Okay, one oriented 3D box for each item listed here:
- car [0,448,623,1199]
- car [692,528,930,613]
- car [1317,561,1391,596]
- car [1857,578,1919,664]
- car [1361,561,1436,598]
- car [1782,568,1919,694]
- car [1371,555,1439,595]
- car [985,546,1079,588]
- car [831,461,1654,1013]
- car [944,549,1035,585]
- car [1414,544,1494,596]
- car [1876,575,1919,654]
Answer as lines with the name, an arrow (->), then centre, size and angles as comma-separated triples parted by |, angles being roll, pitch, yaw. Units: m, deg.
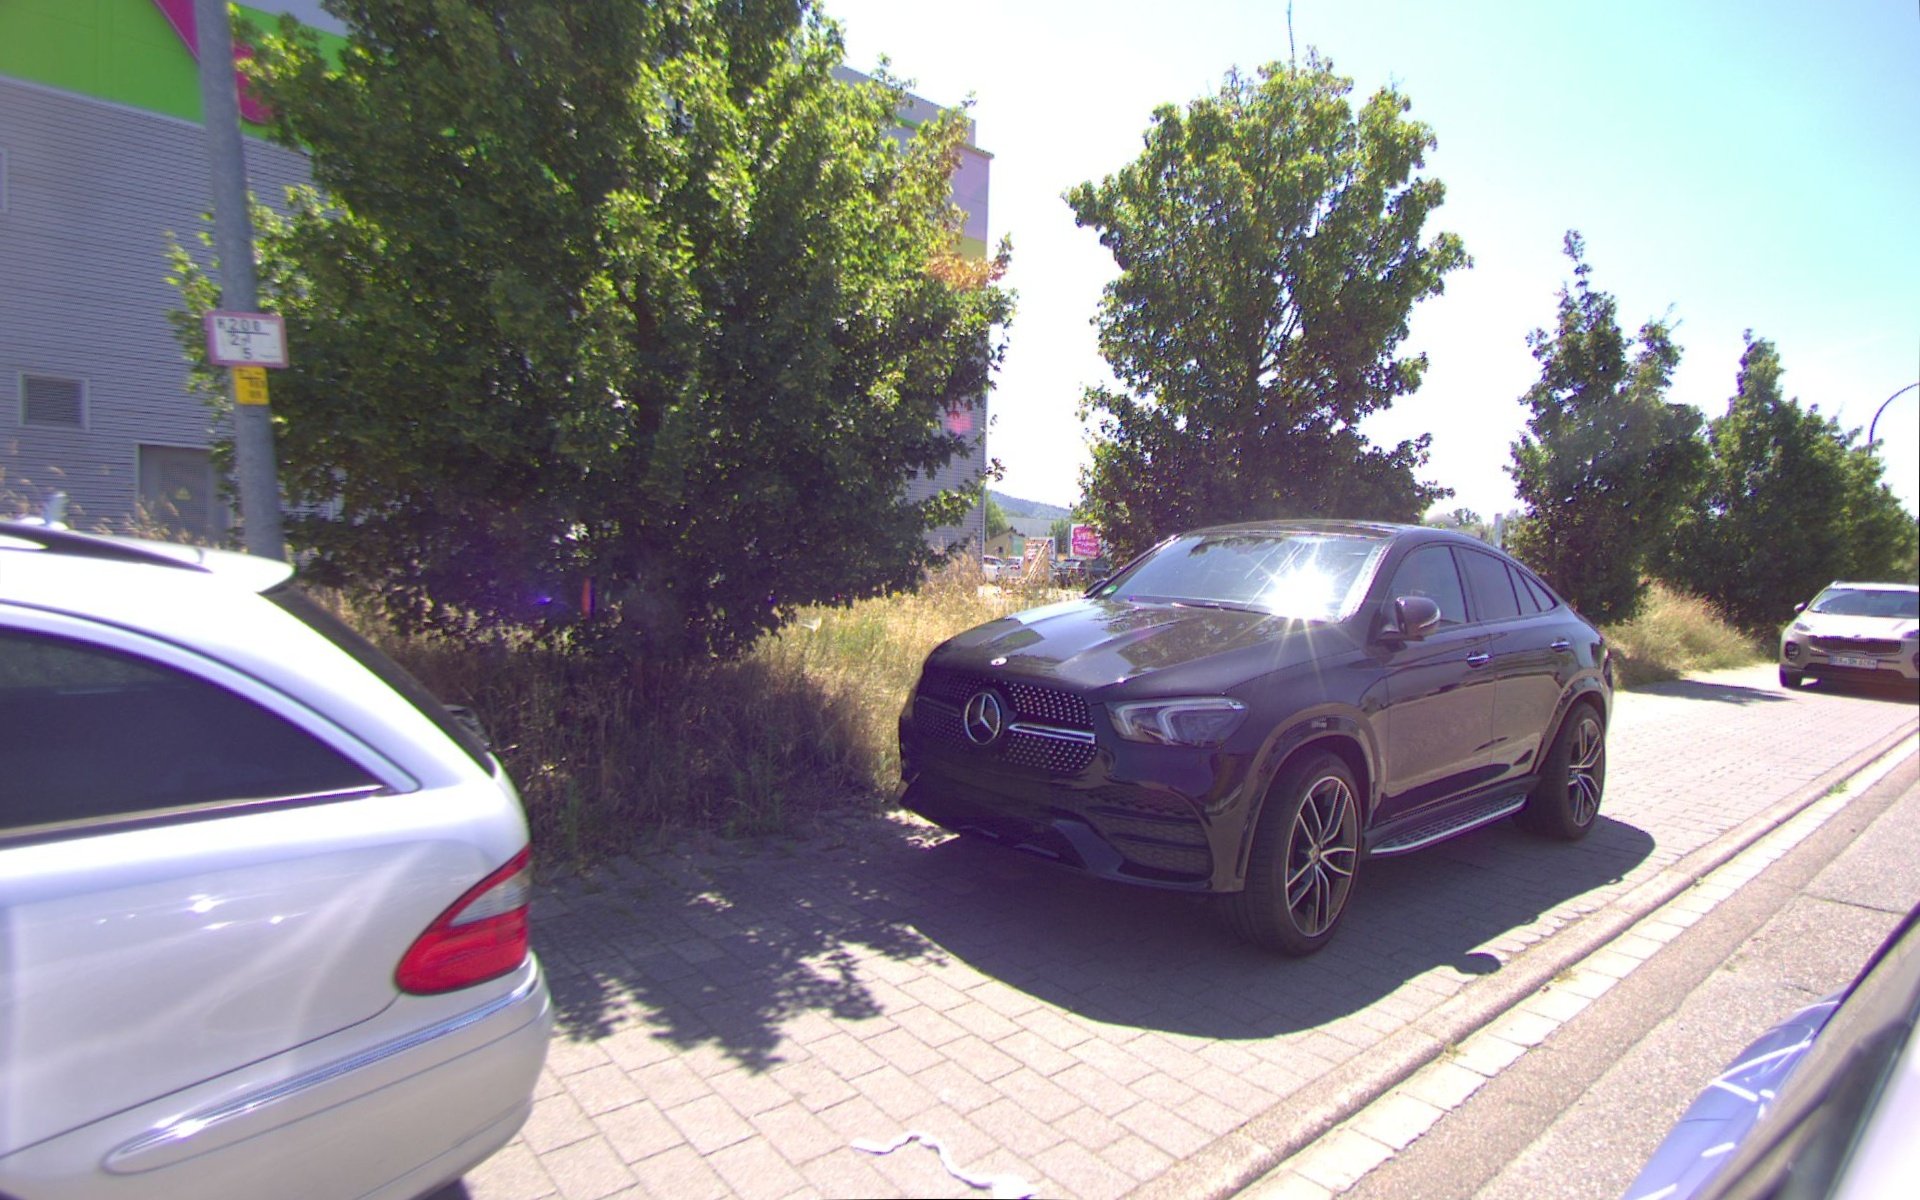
car -> -2.936, 0.509, 0.873 | 4.694, 1.500, 1.807 | -1, 4, -44
car -> -2.906, -0.602, 20.279 | 4.324, 1.517, 1.998 | 0, 3, -41
car -> 21.342, -1.197, 54.795 | 4.324, 1.808, 1.936 | -1, 3, -41
car -> 19.443, 0.393, 20.227 | 4.554, 1.547, 1.906 | -1, 4, -45
car -> 22.891, -1.074, 52.772 | 4.327, 1.808, 1.950 | -1, 4, -43
car -> 14.354, 0.407, 15.615 | 4.380, 1.655, 1.809 | 0, 4, -41
car -> 25.586, -1.475, 58.122 | 4.327, 2.171, 1.950 | -1, 3, -43
car -> 3.522, -1.601, 49.102 | 4.323, 1.808, 1.998 | 2, 2, -41
car -> 1.760, 0.357, 5.330 | 4.465, 1.721, 1.954 | 0, 4, -40
car -> 1.508, -1.651, 50.830 | 4.323, 1.601, 1.998 | 2, 2, -41
car -> 27.383, -1.672, 56.055 | 4.663, 2.776, 2.000 | -1, 3, -37
car -> 23.414, 0.353, 23.806 | 4.702, 1.719, 2.149 | 0, 4, -41
